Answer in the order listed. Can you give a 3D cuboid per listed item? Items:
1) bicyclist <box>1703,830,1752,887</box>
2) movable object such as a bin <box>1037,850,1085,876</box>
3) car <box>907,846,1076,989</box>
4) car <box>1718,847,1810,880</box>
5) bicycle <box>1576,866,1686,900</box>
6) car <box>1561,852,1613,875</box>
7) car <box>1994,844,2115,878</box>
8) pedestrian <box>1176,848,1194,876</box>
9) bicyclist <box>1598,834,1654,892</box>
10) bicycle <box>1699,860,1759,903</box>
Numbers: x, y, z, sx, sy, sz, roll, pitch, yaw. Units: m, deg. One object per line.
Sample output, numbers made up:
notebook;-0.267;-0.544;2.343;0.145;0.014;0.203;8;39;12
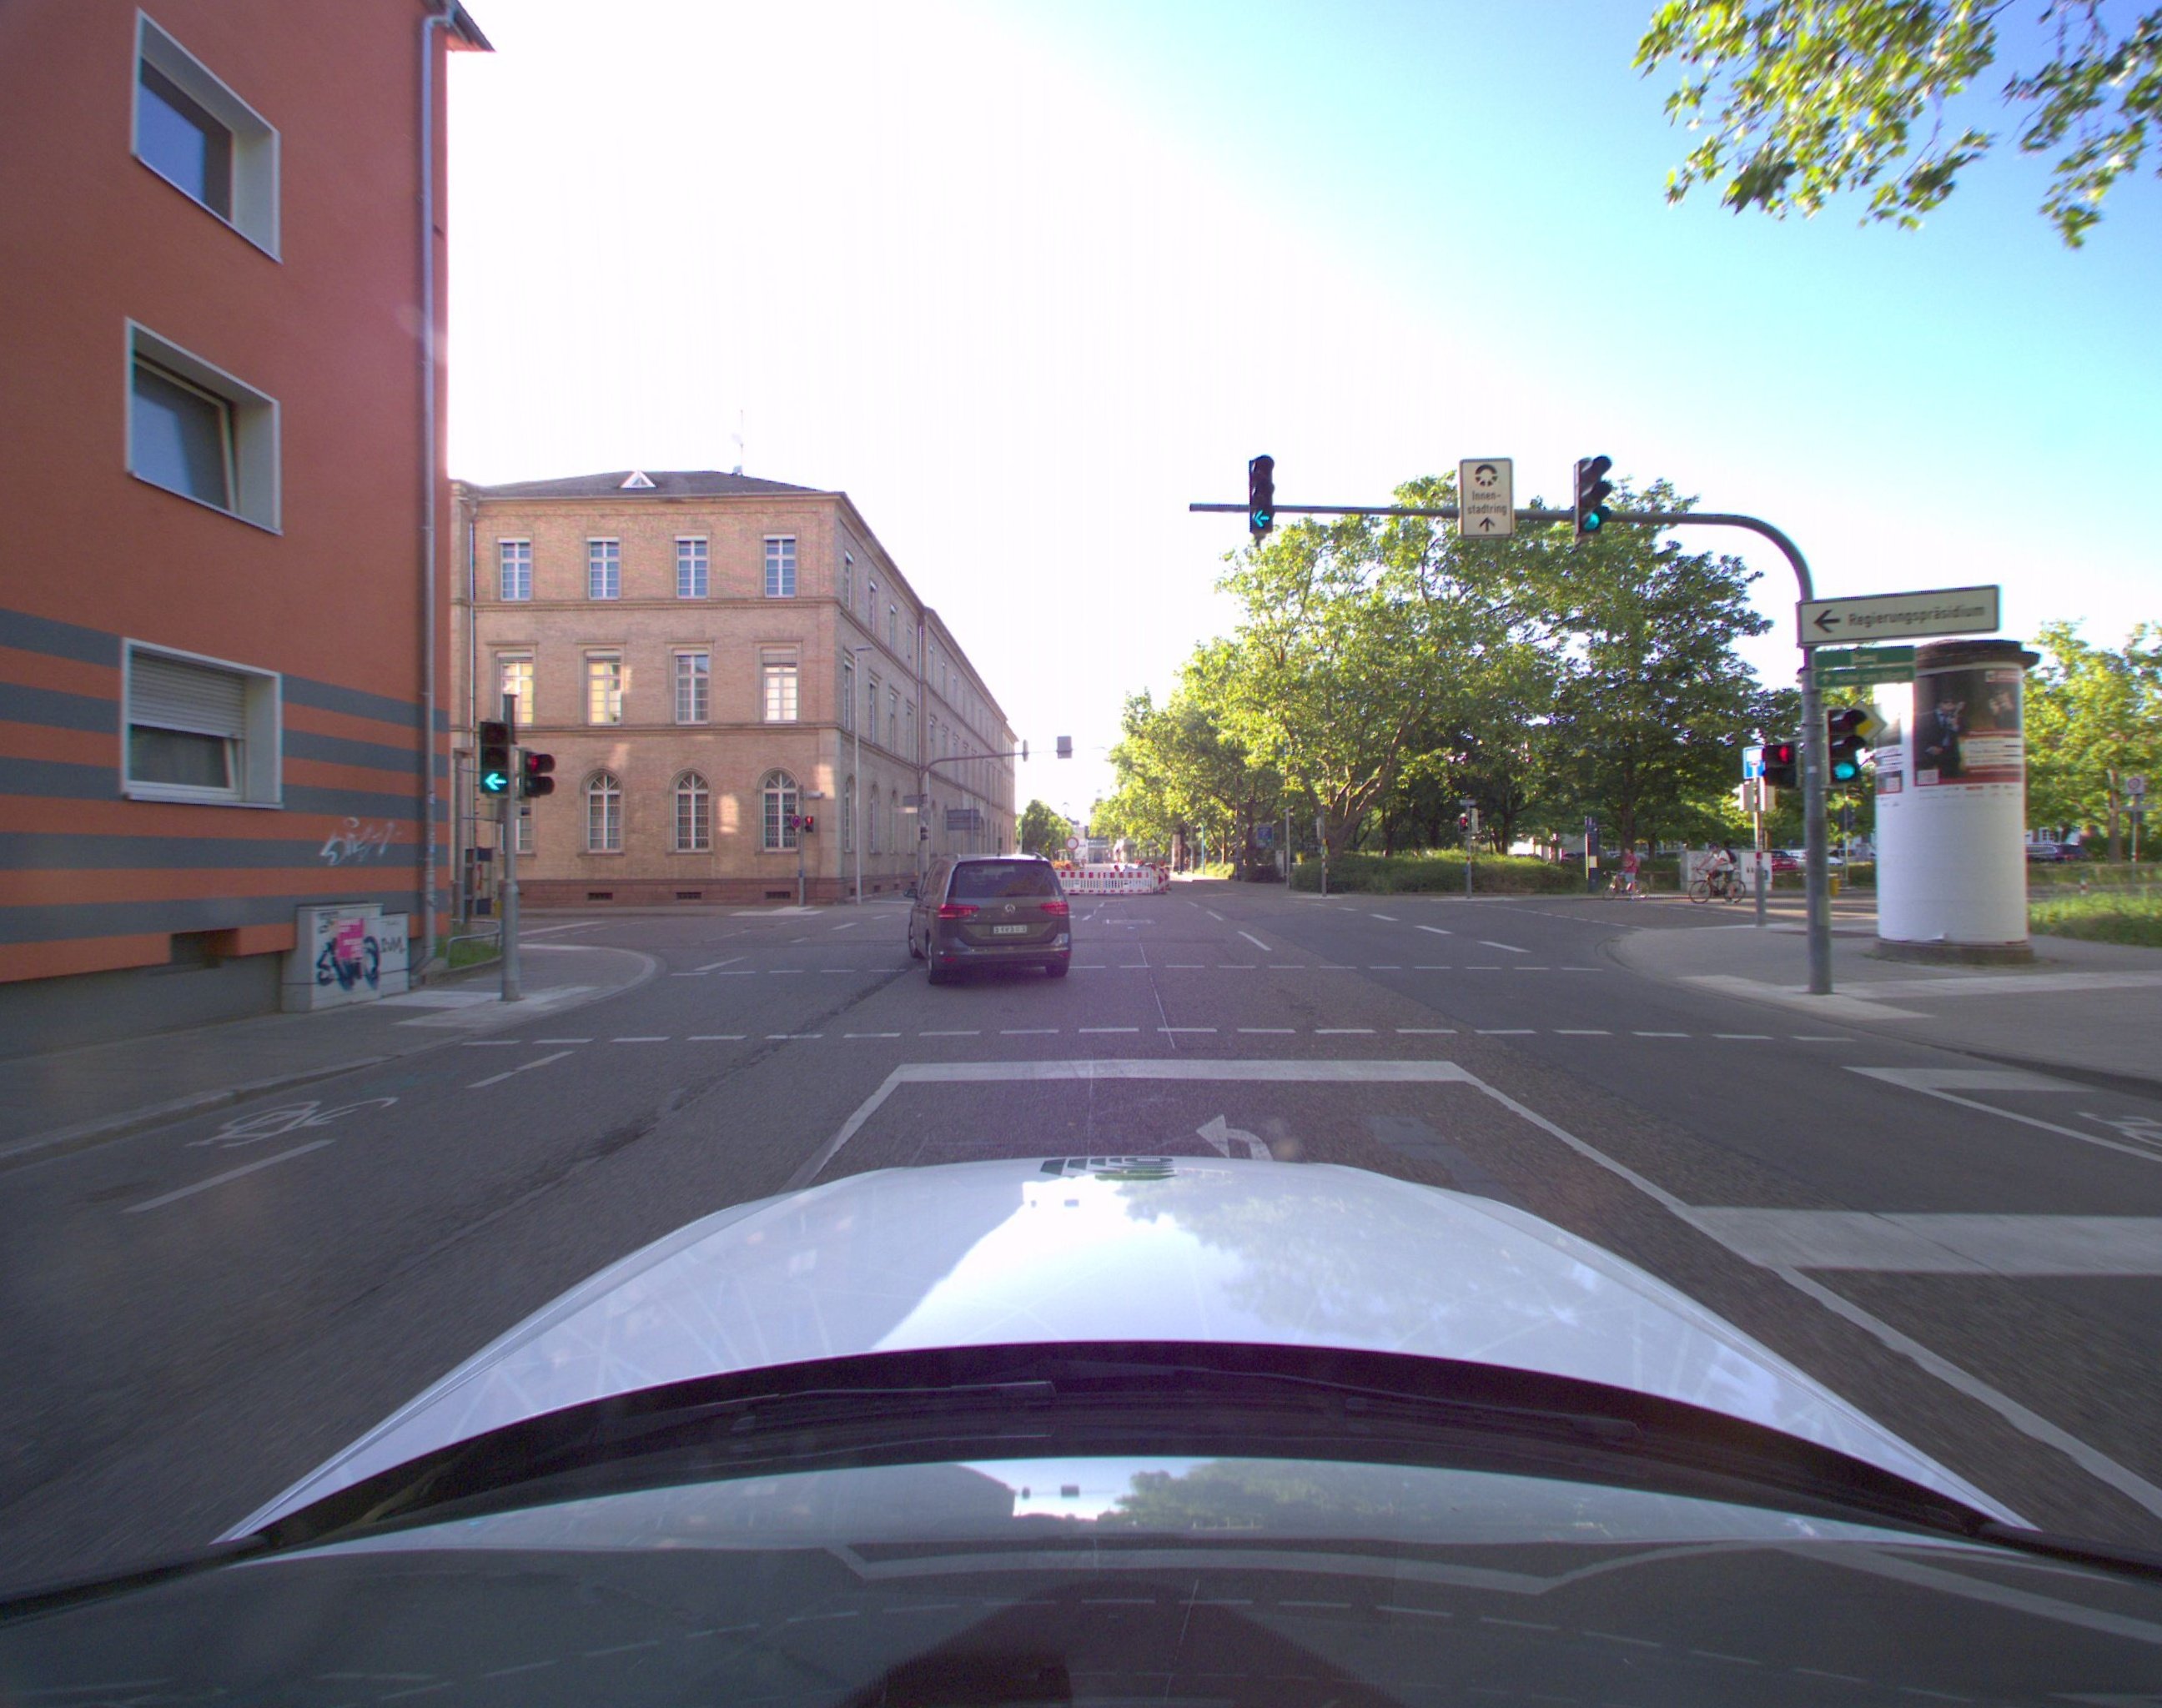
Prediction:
bicyclist;18.131;0.113;22.870;0.941;1.545;1.133;-1;1;32
movable object such as a bin;-2.177;0.979;87.829;4.781;2.777;2.488;-1;-1;43
car;-1.432;0.735;11.411;1.765;1.607;3.979;0;0;-15
car;39.042;0.537;46.687;1.986;1.779;4.000;-1;-1;1
bicycle;17.761;0.924;26.332;2.989;1.038;0.942;-1;-1;-3
car;39.161;0.736;63.108;1.982;1.779;4.009;-1;-1;8
car;54.000;0.379;45.299;1.986;1.779;4.000;-1;-1;1
pedestrian;10.028;0.747;78.629;1.418;2.667;1.145;0;-1;-8
bicyclist;17.589;0.292;26.318;1.125;1.808;0.977;0;-1;-1
bicycle;18.277;0.748;23.035;0.969;1.052;2.677;-3;0;32
